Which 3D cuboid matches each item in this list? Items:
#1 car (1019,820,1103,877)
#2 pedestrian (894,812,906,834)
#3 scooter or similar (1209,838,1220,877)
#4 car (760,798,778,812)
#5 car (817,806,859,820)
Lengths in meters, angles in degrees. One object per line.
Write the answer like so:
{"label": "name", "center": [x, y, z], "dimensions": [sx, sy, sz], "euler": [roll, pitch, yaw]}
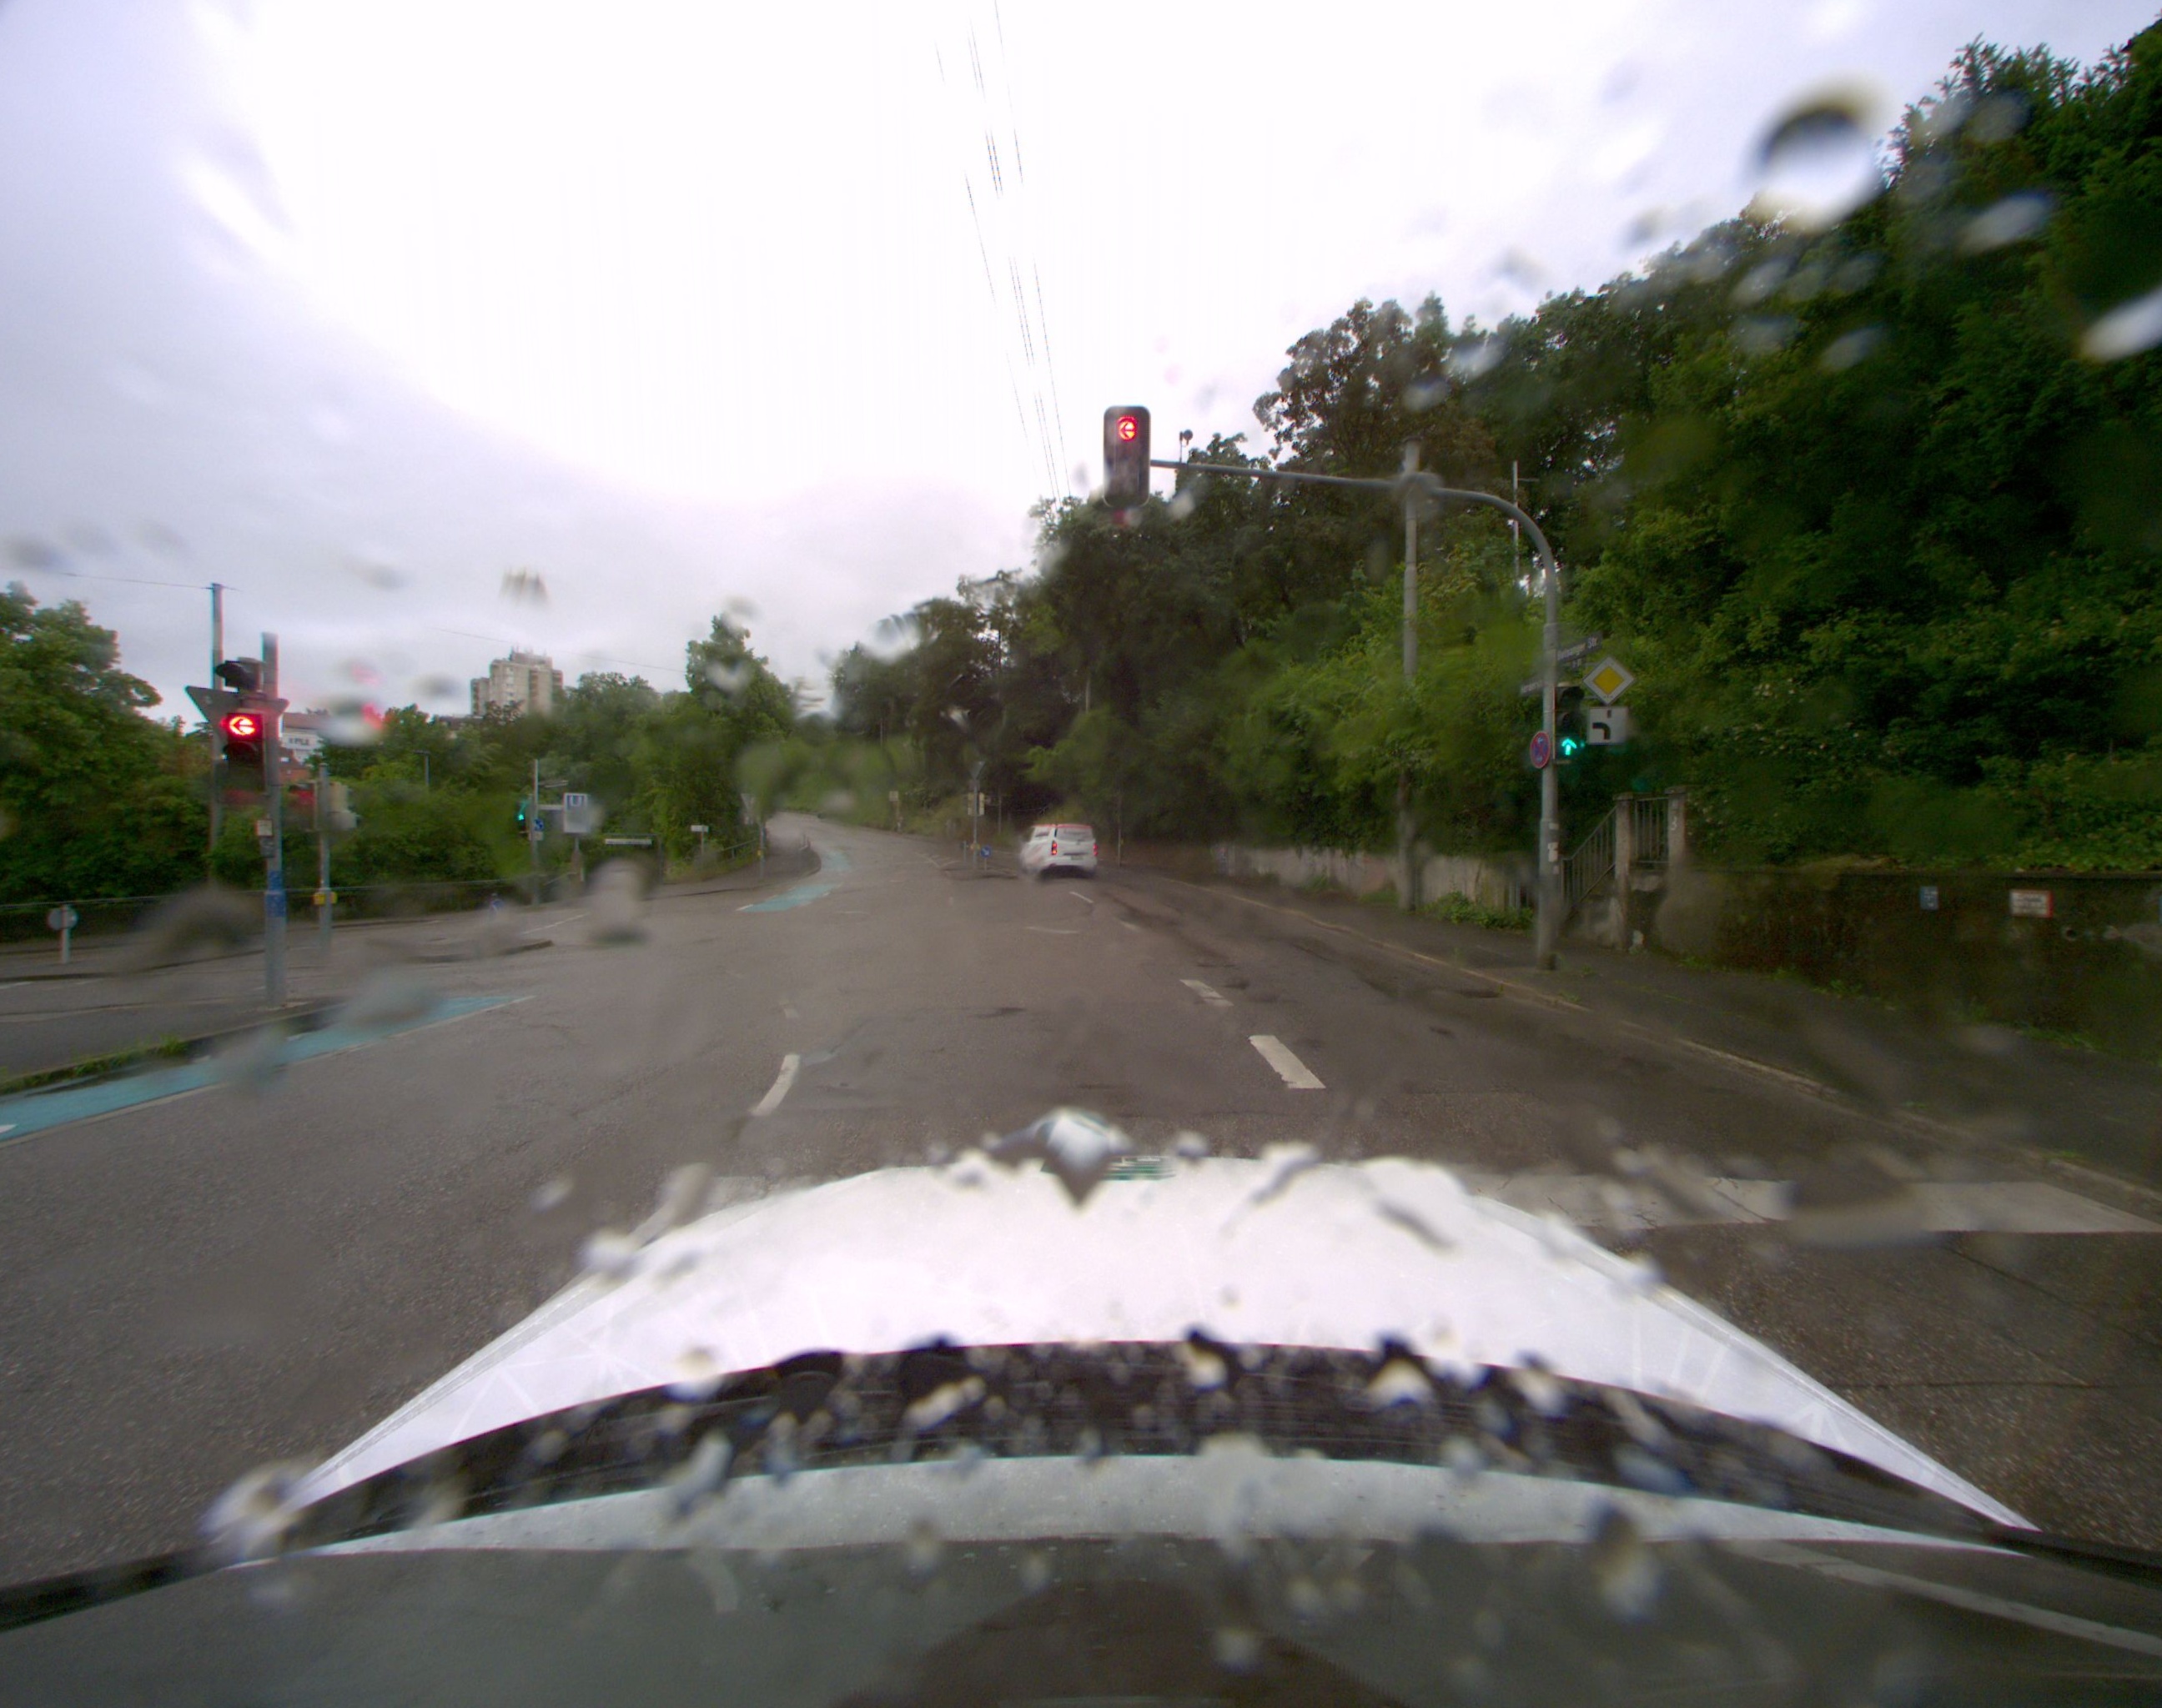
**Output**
{"label": "car", "center": [-0.861, -0.242, 31.090], "dimensions": [2.070, 2.006, 4.788], "euler": [-1, 1, -16]}
{"label": "pedestrian", "center": [-14.637, -2.500, 65.938], "dimensions": [0.883, 1.736, 0.861], "euler": [0, -1, -16]}
{"label": "scooter or similar", "center": [4.519, 0.108, 27.567], "dimensions": [0.320, 1.279, 0.753], "euler": [-1, 2, 9]}
{"label": "car", "center": [-42.515, -6.694, 110.833], "dimensions": [1.928, 1.780, 3.966], "euler": [0, 2, -26]}
{"label": "car", "center": [-28.405, -4.812, 95.163], "dimensions": [4.358, 1.511, 1.971], "euler": [1, 3, 14]}
